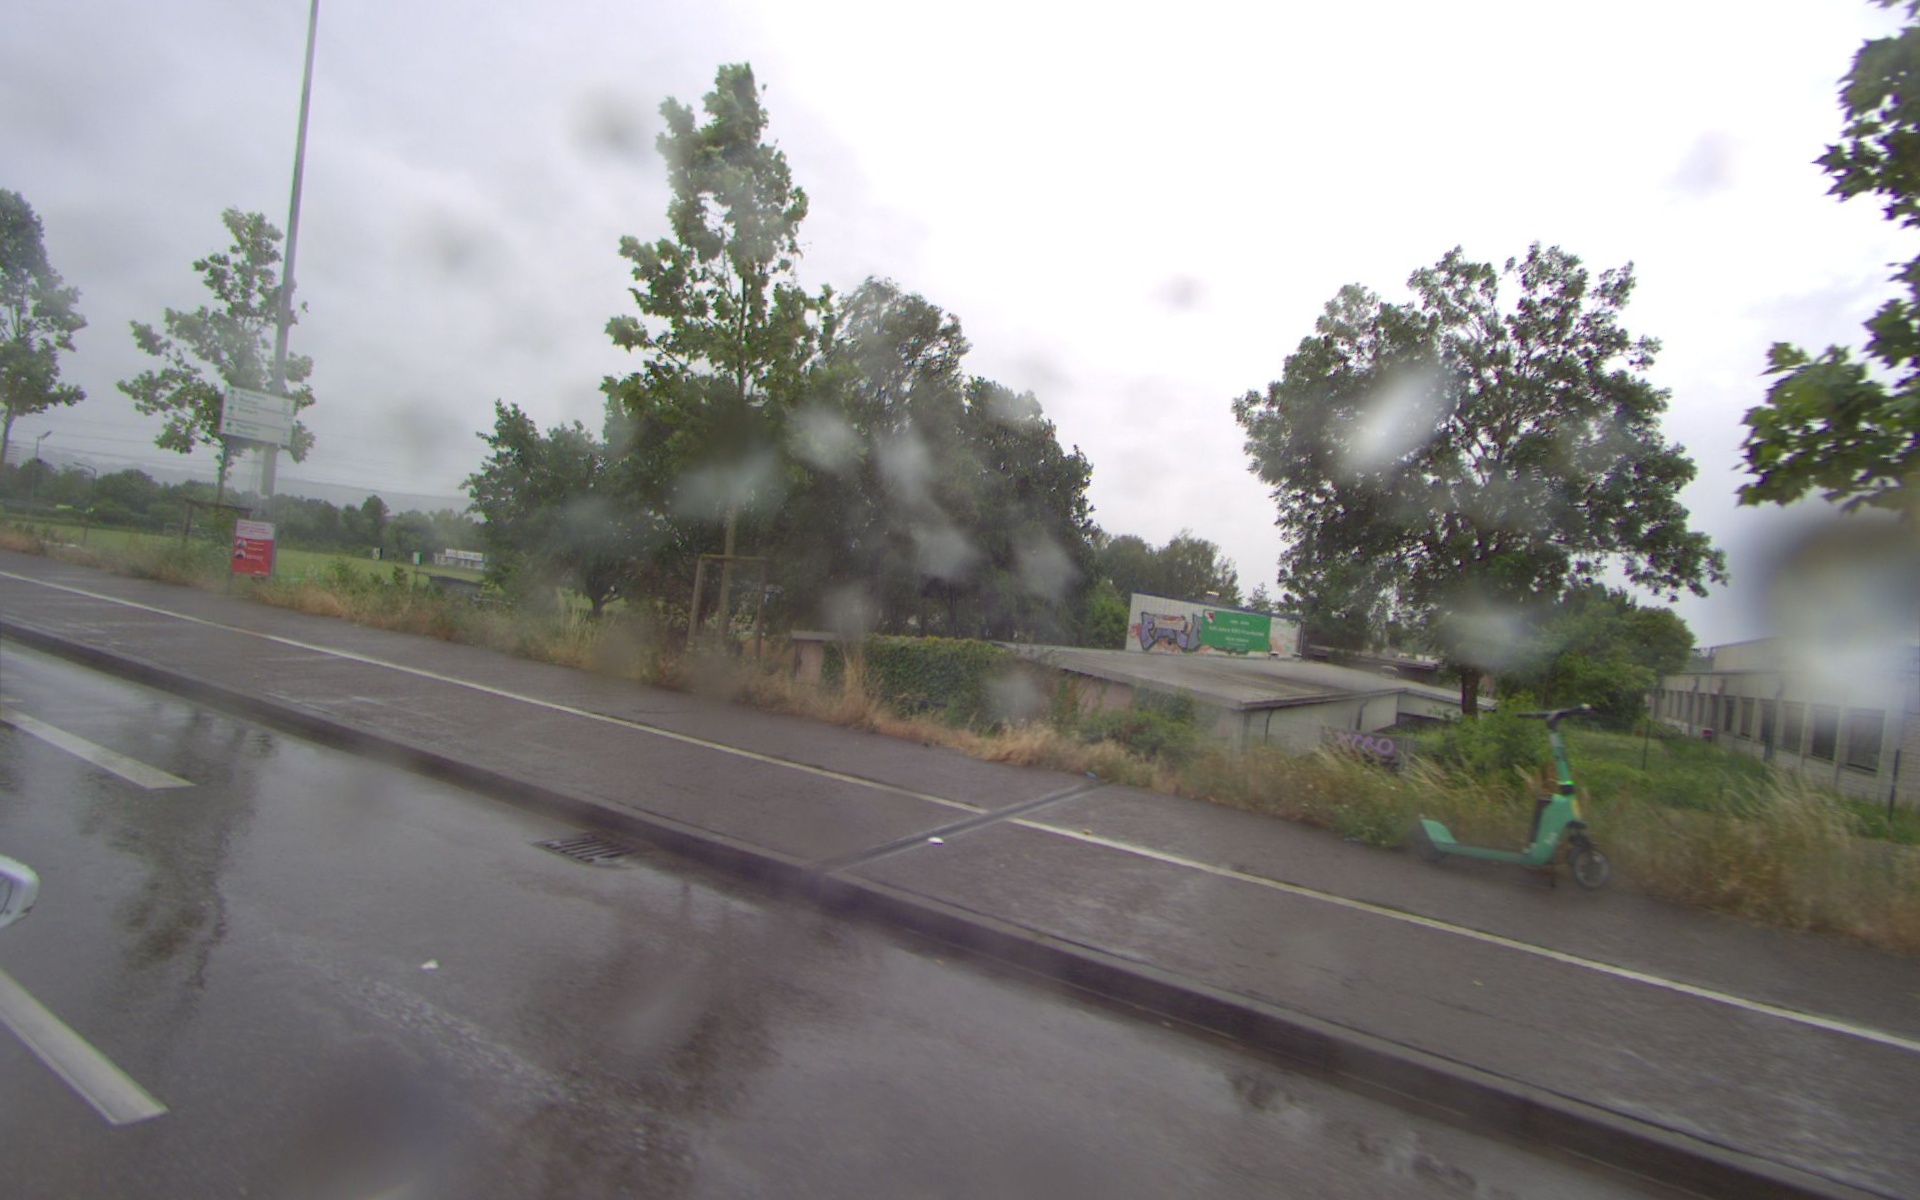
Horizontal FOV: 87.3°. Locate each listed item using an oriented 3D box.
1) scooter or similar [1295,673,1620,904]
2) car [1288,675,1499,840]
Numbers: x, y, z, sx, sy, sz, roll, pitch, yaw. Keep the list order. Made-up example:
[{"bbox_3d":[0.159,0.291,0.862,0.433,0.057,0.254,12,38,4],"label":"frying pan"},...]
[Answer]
[{"bbox_3d":[3.407,1.244,7.008,1.882,1.213,0.367,6,-1,34],"label":"scooter or similar"},{"bbox_3d":[4.702,1.608,10.674,1.324,1.303,3.240,6,-2,35],"label":"car"}]
